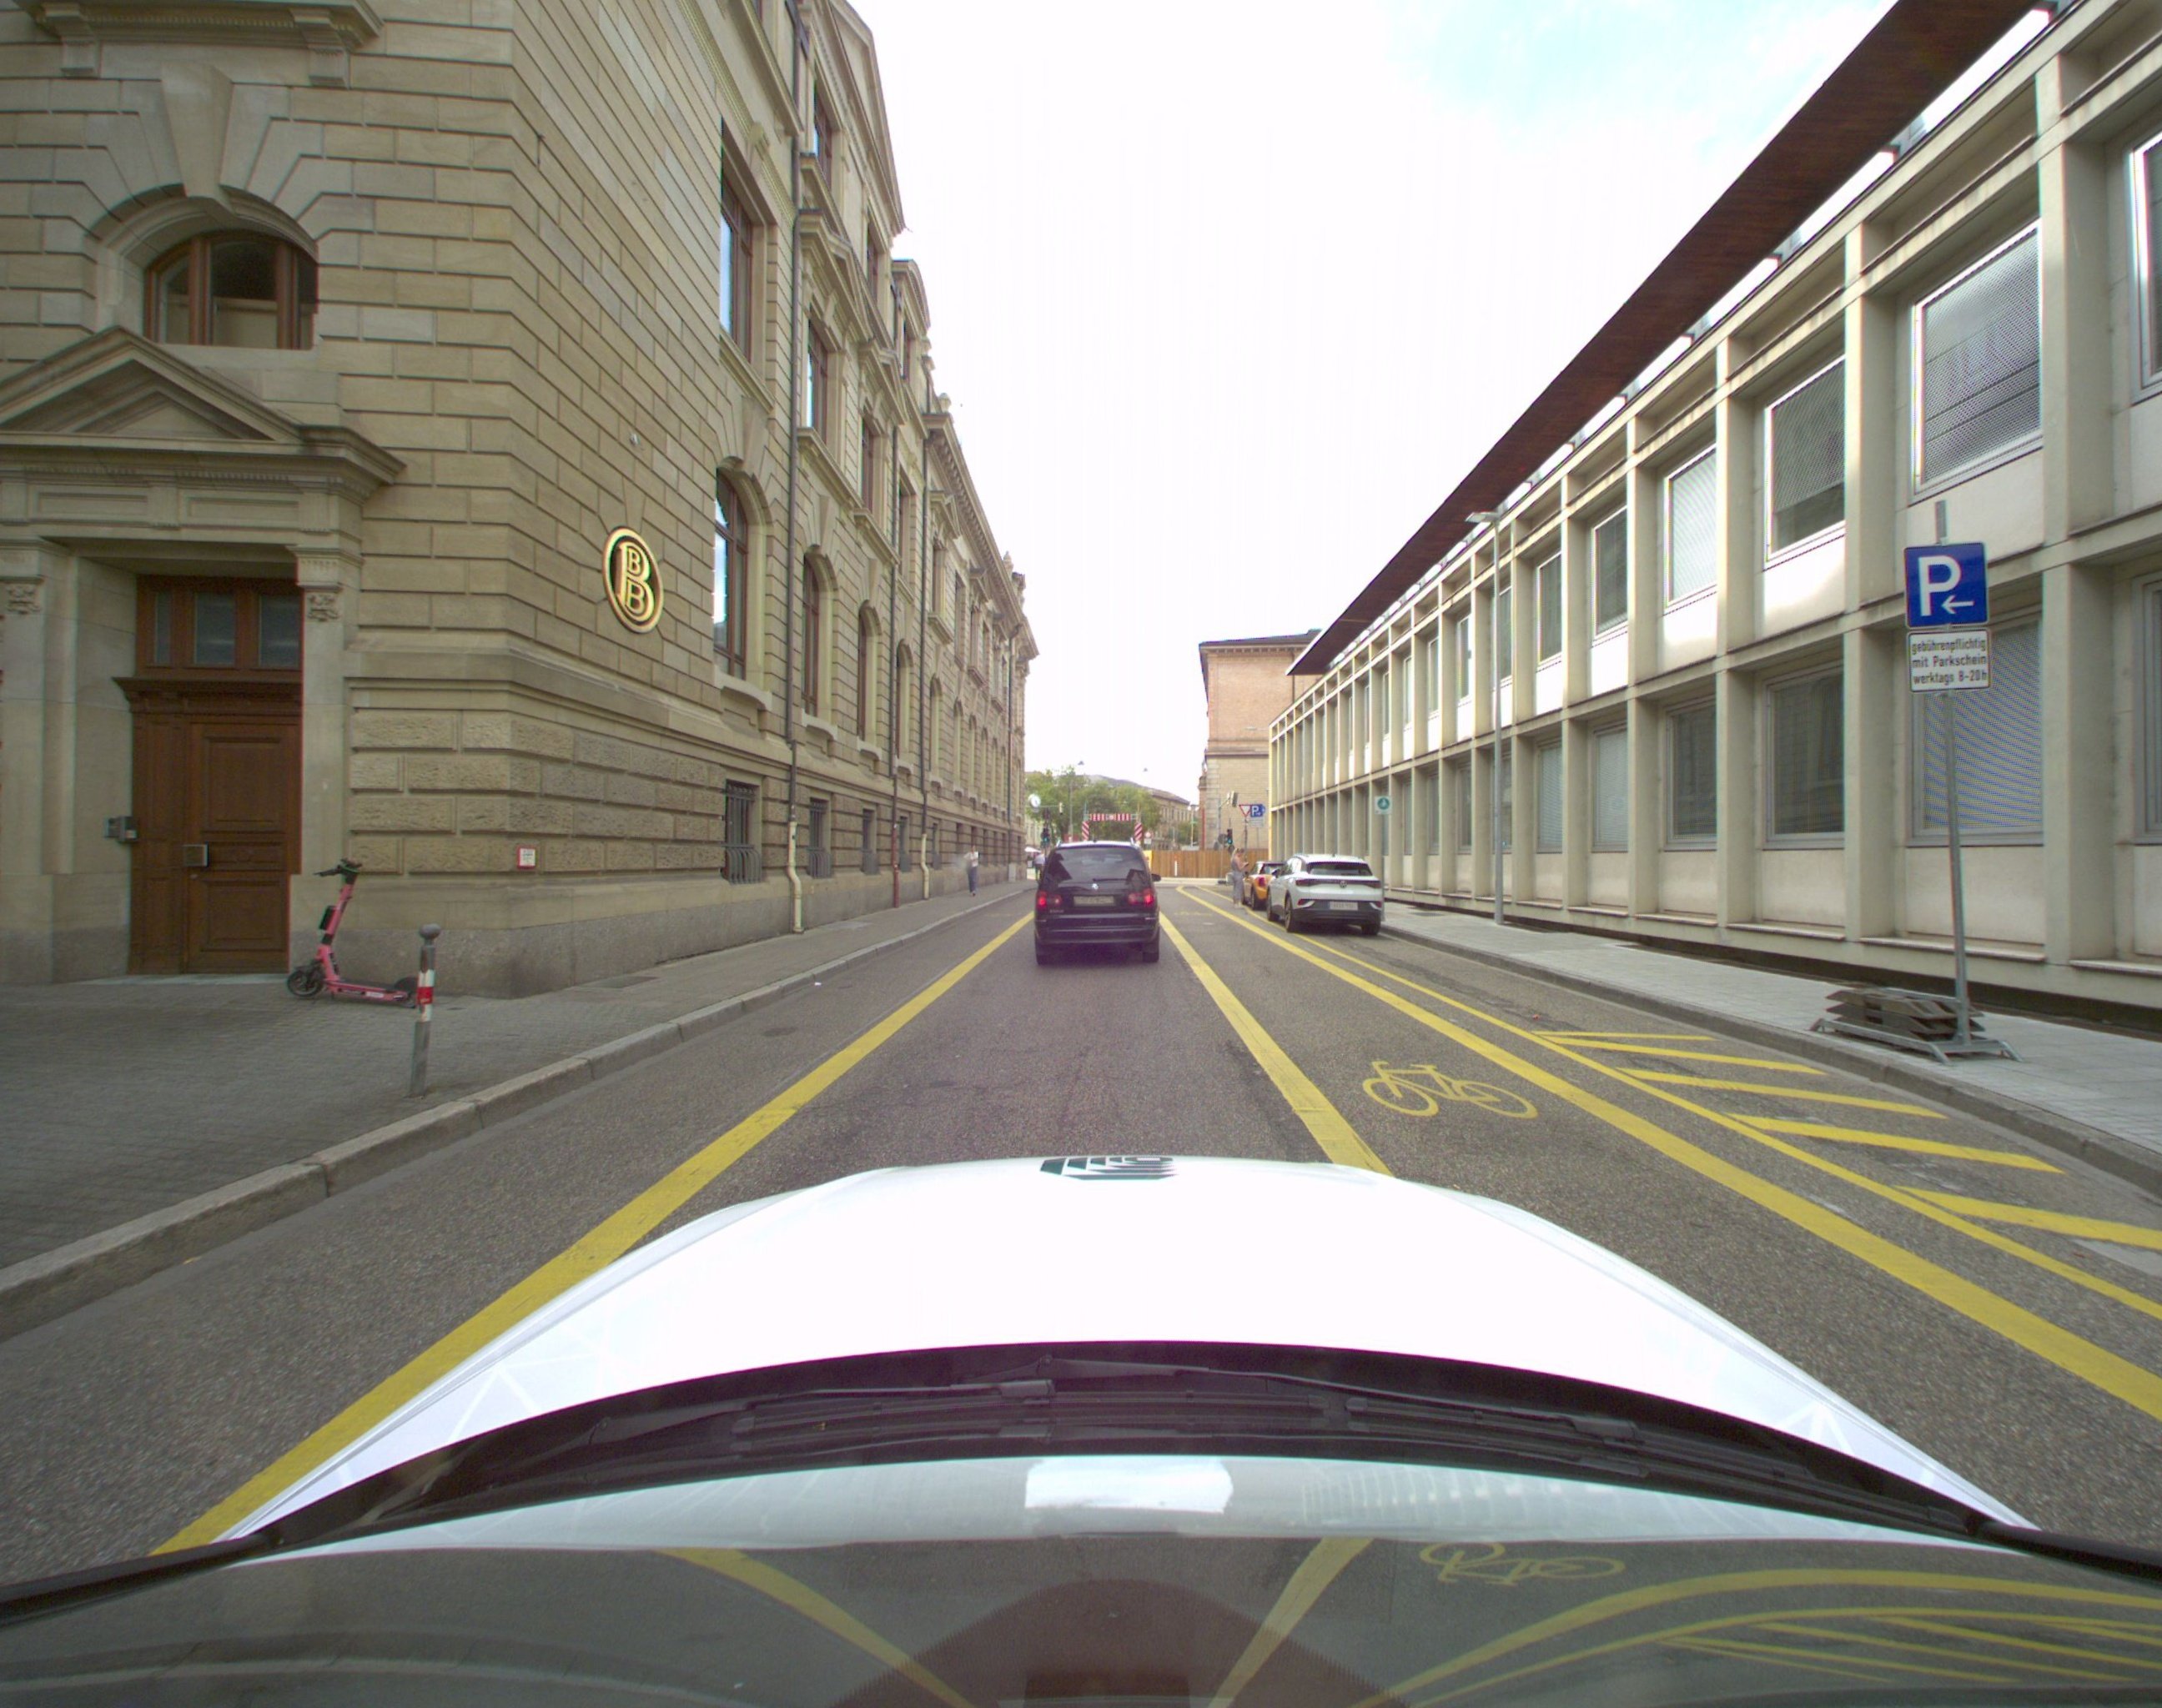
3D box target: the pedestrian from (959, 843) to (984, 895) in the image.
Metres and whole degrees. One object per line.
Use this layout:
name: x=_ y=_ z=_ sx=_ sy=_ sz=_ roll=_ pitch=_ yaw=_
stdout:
pedestrian: x=-3.919 y=0.526 z=29.266 sx=0.661 sy=1.819 sz=1.048 roll=2 pitch=-1 yaw=2

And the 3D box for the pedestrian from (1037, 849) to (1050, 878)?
pedestrian: x=-2.471 y=0.631 z=53.691 sx=0.790 sy=1.819 sz=1.047 roll=2 pitch=-1 yaw=-2

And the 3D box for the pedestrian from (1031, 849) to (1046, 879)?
pedestrian: x=-2.649 y=0.634 z=50.547 sx=0.789 sy=1.819 sz=1.048 roll=2 pitch=-1 yaw=2

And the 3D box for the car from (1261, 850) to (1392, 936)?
car: x=5.238 y=0.770 z=17.991 sx=1.851 sy=1.605 sz=4.517 roll=1 pitch=0 yaw=5

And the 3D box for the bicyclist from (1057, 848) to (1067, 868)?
bicyclist: x=-1.553 y=0.322 z=66.948 sx=0.736 sy=1.611 sz=0.691 roll=0 pitch=-1 yaw=-15

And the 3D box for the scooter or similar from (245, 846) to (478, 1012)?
scooter or similar: x=-6.230 y=0.625 z=7.100 sx=1.441 sy=1.310 sz=0.587 roll=3 pitch=1 yaw=0

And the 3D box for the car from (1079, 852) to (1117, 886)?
car: x=0.860 y=0.719 z=39.893 sx=1.766 sy=1.586 sz=4.001 roll=0 pitch=-1 yaw=2

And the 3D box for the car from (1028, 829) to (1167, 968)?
car: x=0.383 y=0.606 z=12.774 sx=1.781 sy=1.790 sz=4.108 roll=-2 pitch=-1 yaw=5

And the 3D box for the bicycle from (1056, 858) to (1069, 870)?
bicycle: x=-1.640 y=0.851 z=70.869 sx=0.736 sy=1.009 sz=2.060 roll=0 pitch=-1 yaw=-12

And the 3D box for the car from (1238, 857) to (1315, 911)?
car: x=5.804 y=0.844 z=24.568 sx=1.672 sy=1.435 sz=3.891 roll=2 pitch=0 yaw=5

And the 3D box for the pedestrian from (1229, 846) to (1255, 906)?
pedestrian: x=4.749 y=0.643 z=24.092 sx=0.694 sy=1.764 sz=0.707 roll=0 pitch=-1 yaw=6

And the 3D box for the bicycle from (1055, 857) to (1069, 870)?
bicycle: x=-1.550 y=0.777 z=66.940 sx=0.736 sy=1.009 sz=2.058 roll=0 pitch=-1 yaw=-15

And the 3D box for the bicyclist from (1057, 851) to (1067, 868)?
bicyclist: x=-1.643 y=0.441 z=70.873 sx=0.735 sy=1.470 sz=0.805 roll=0 pitch=-1 yaw=-11
